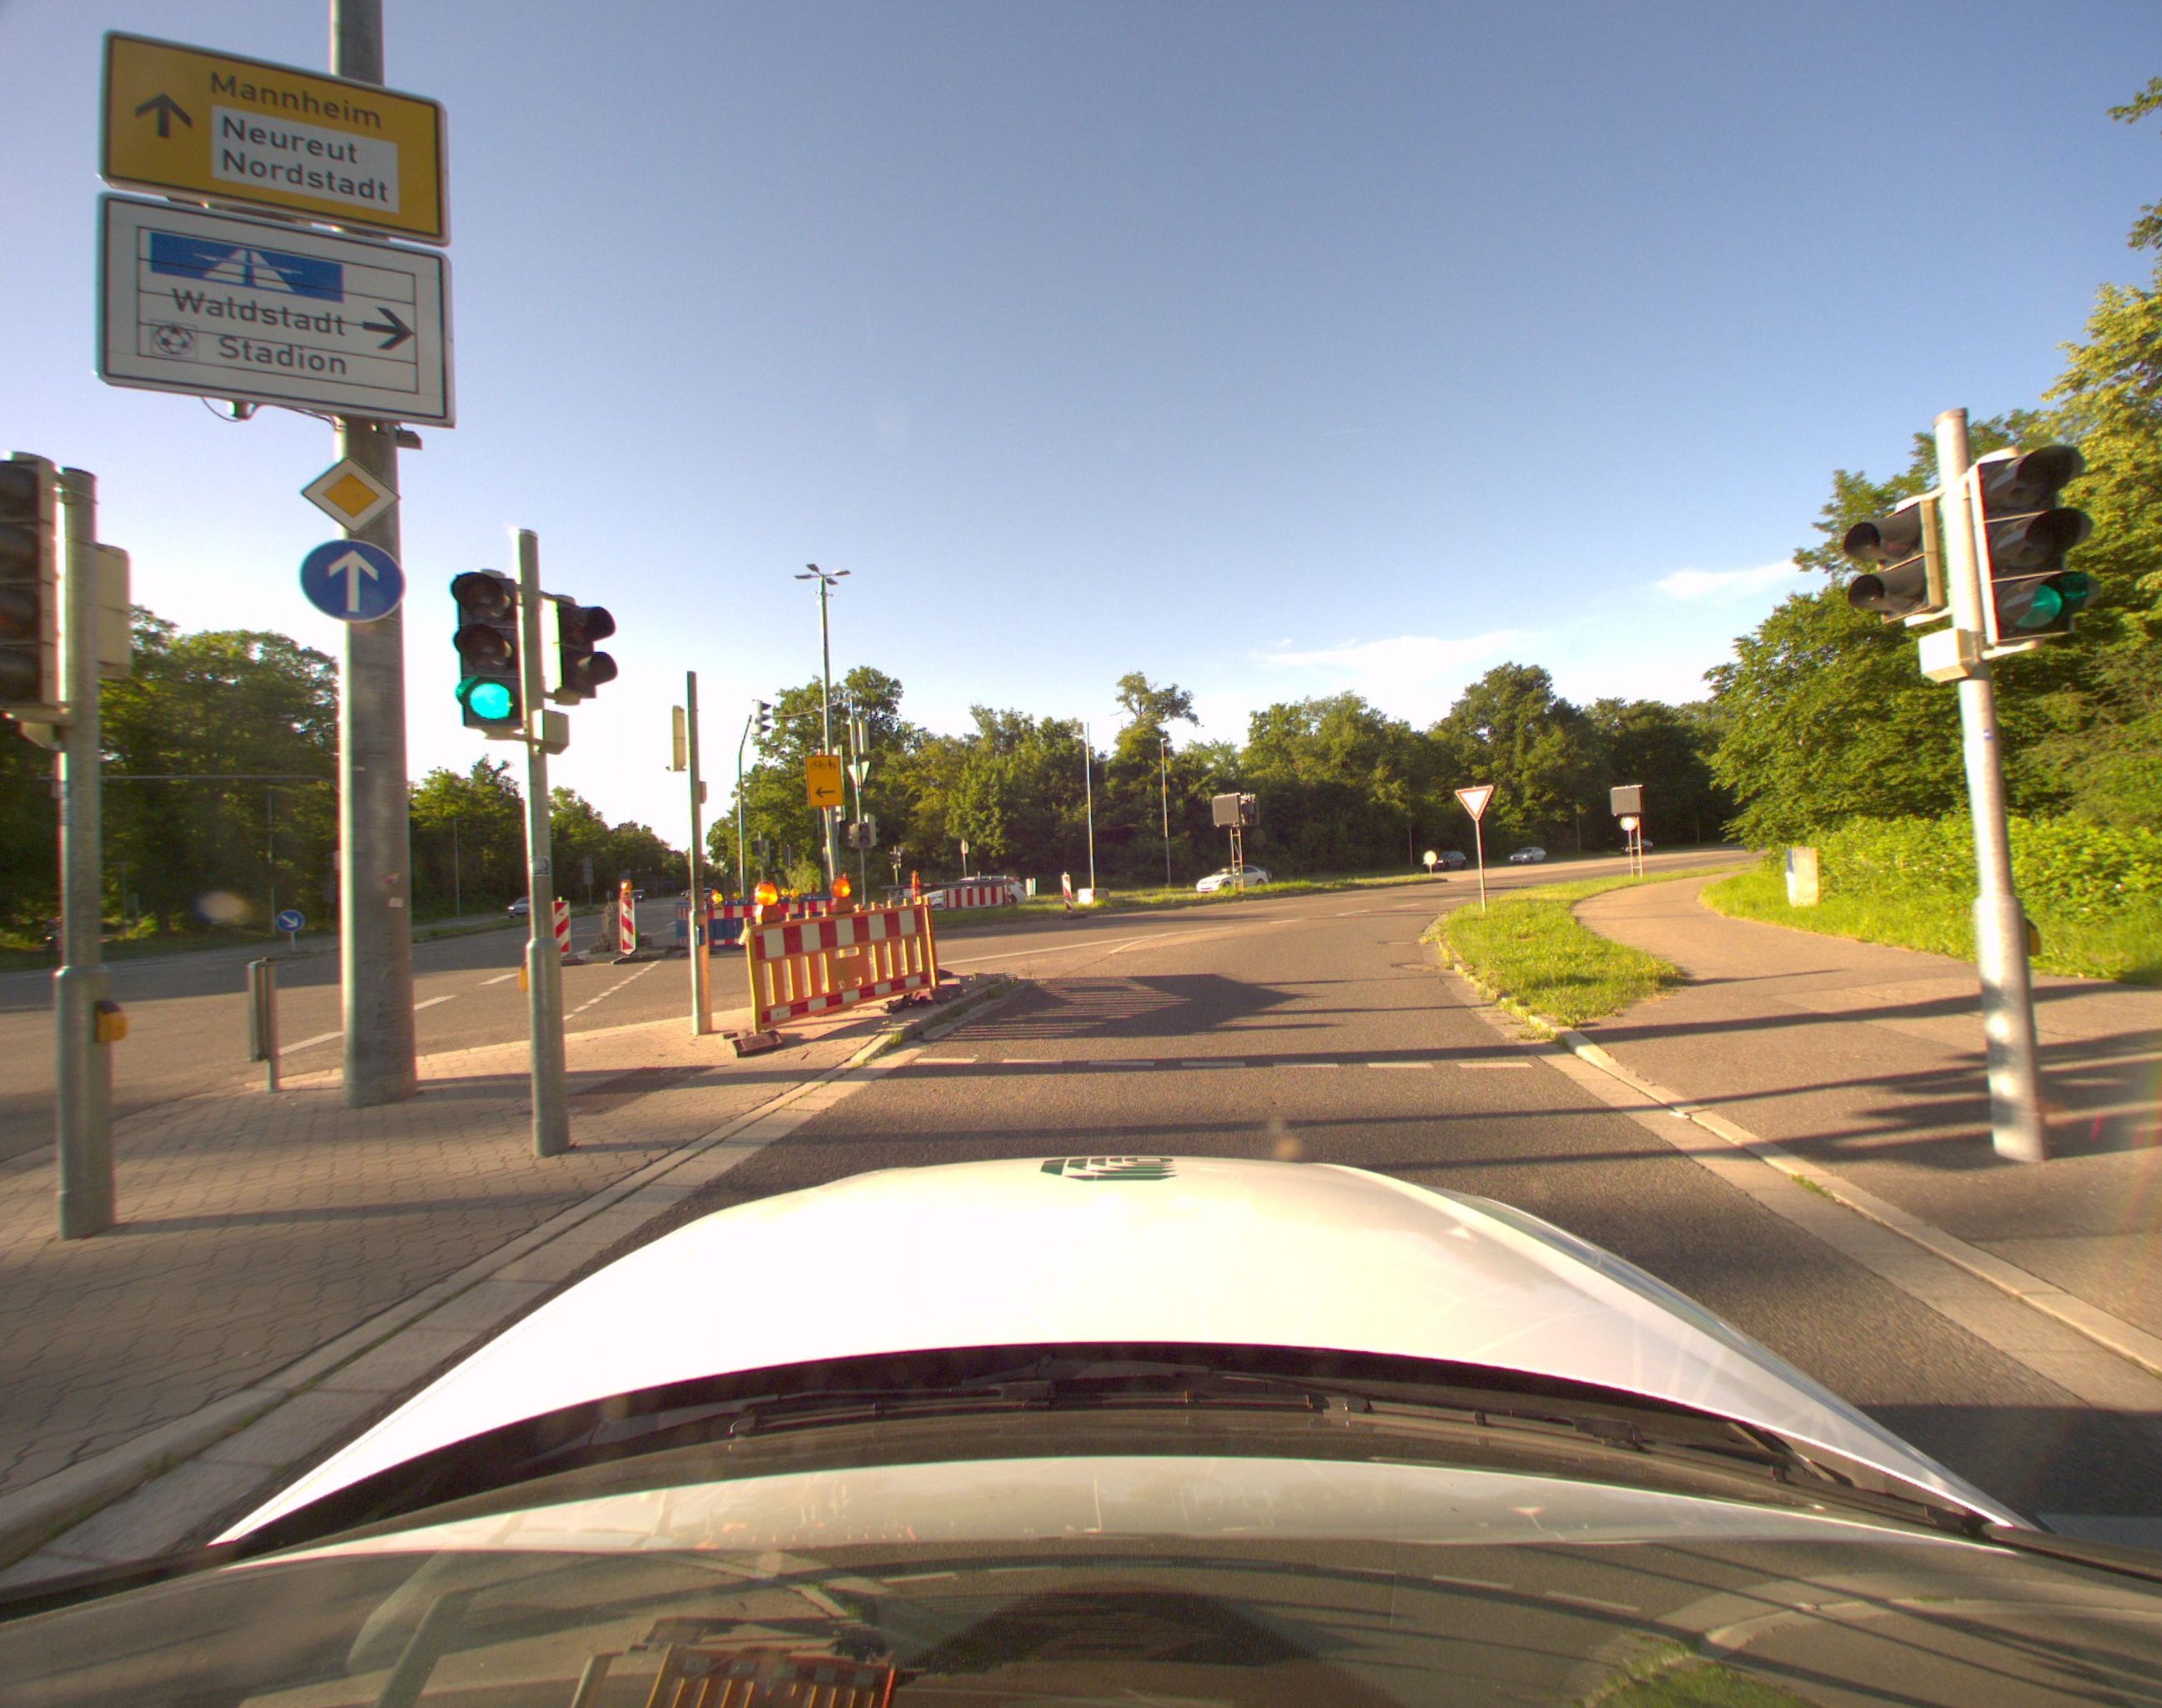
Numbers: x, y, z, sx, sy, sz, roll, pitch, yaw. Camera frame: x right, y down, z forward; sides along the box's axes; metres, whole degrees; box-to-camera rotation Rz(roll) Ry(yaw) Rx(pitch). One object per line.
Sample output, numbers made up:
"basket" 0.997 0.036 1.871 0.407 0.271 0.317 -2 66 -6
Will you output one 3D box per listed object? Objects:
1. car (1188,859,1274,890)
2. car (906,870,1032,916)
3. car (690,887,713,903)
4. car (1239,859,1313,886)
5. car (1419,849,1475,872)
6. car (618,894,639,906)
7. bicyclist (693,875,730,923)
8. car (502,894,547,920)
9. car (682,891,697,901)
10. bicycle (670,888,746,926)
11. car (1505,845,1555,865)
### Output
"car" 8.218 1.121 44.397 4.833 1.436 1.976 -2 -2 -41
"car" -4.585 1.587 33.756 4.860 1.581 1.976 -2 -2 -42
"car" -36.710 3.966 78.850 1.949 1.414 3.968 -3 -1 -24
"car" 12.336 1.141 51.376 4.833 1.436 1.976 -2 -2 -41
"car" 28.972 0.515 64.362 4.673 1.529 1.977 -2 -1 -37
"car" -65.706 6.678 118.371 2.001 1.655 4.218 -2 -1 -21
"bicyclist" -15.155 1.834 33.425 0.956 1.930 1.023 -3 -2 38
"car" -44.444 4.208 65.107 2.001 1.789 4.218 -2 -1 -21
"car" -62.736 6.676 130.535 1.870 1.444 3.972 -2 -2 -20
"bicycle" -15.218 2.153 33.311 0.956 1.383 2.657 -3 -2 38
"car" 40.125 0.070 72.707 4.671 1.529 1.978 -2 -1 -35
